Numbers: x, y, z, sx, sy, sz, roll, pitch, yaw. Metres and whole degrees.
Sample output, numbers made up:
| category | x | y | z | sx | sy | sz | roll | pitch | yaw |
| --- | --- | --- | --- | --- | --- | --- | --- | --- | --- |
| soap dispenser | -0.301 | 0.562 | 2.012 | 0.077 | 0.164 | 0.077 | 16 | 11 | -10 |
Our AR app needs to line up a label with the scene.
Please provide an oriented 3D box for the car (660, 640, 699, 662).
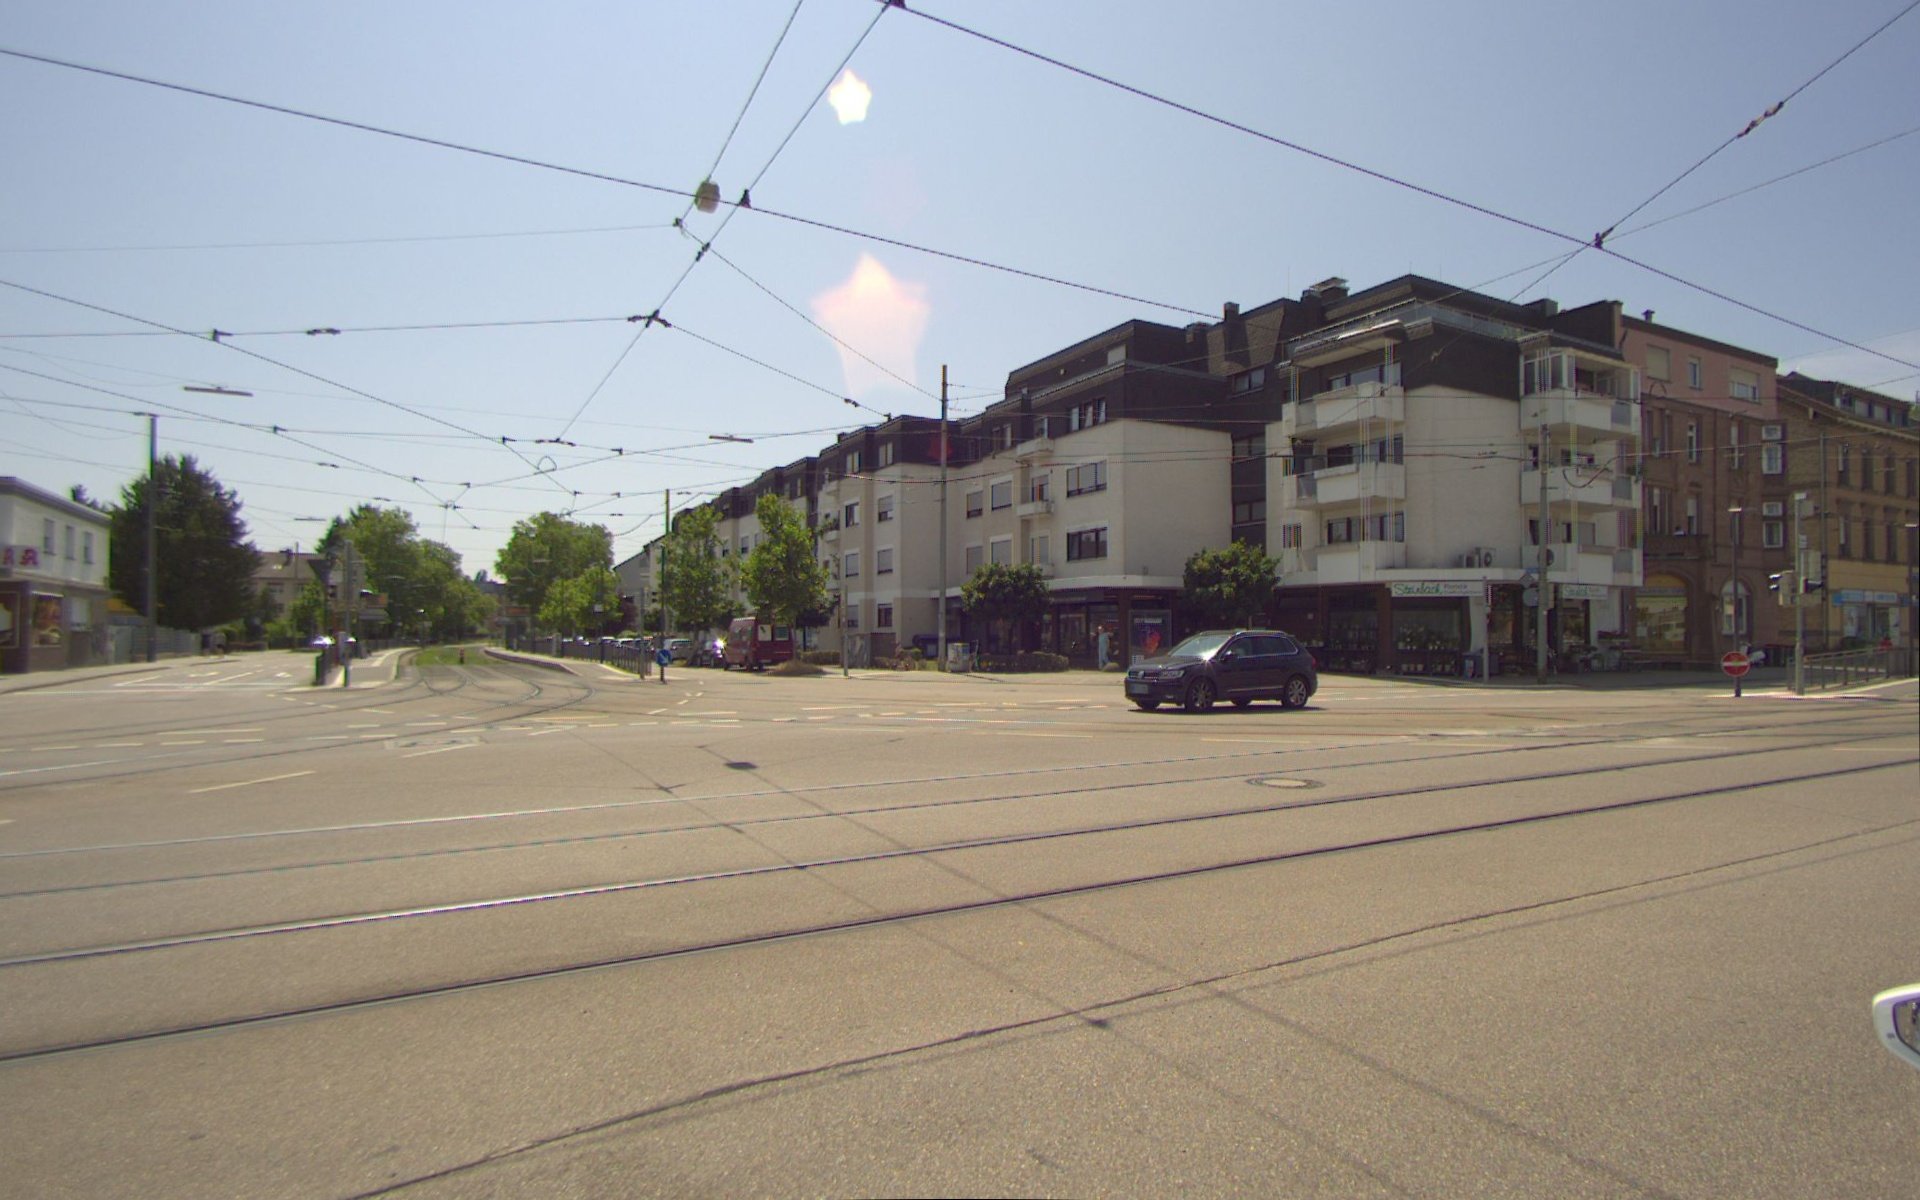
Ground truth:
| category | x | y | z | sx | sy | sz | roll | pitch | yaw |
| --- | --- | --- | --- | --- | --- | --- | --- | --- | --- |
| car | -17.037 | 3.076 | 60.963 | 1.570 | 1.256 | 3.555 | 1 | -2 | -28 |

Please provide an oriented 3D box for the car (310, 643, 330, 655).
| category | x | y | z | sx | sy | sz | roll | pitch | yaw |
| --- | --- | --- | --- | --- | --- | --- | --- | --- | --- |
| car | -66.021 | 5.039 | 103.626 | 1.580 | 1.243 | 3.274 | 1 | -2 | -29 |

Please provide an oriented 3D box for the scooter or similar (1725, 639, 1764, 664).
| category | x | y | z | sx | sy | sz | roll | pitch | yaw |
| --- | --- | --- | --- | --- | --- | --- | --- | --- | --- |
| scooter or similar | 35.043 | 2.278 | 44.853 | 1.549 | 1.096 | 0.488 | 0 | -2 | -13 |

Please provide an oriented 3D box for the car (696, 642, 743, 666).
| category | x | y | z | sx | sy | sz | roll | pitch | yaw |
| --- | --- | --- | --- | --- | --- | --- | --- | --- | --- |
| car | -12.535 | 2.781 | 52.221 | 1.570 | 1.235 | 3.555 | 1 | -2 | -28 |

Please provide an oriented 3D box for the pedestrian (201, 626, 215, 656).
| category | x | y | z | sx | sy | sz | roll | pitch | yaw |
| --- | --- | --- | --- | --- | --- | --- | --- | --- | --- |
| pedestrian | -49.753 | 2.701 | 66.455 | 0.671 | 1.927 | 0.644 | 1 | -2 | -30 |

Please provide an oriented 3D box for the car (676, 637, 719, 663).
| category | x | y | z | sx | sy | sz | roll | pitch | yaw |
| --- | --- | --- | --- | --- | --- | --- | --- | --- | --- |
| car | -14.855 | 2.796 | 56.693 | 1.570 | 1.451 | 3.555 | 1 | -2 | -28 |

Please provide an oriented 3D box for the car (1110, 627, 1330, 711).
| category | x | y | z | sx | sy | sz | roll | pitch | yaw |
| --- | --- | --- | --- | --- | --- | --- | --- | --- | --- |
| car | 5.481 | 1.386 | 21.079 | 4.437 | 1.600 | 1.787 | 1 | -2 | -28 |

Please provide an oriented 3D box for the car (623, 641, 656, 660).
| category | x | y | z | sx | sy | sz | roll | pitch | yaw |
| --- | --- | --- | --- | --- | --- | --- | --- | --- | --- |
| car | -22.479 | 3.534 | 70.444 | 1.570 | 1.256 | 3.555 | 1 | -2 | -28 |

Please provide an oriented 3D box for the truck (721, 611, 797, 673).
| category | x | y | z | sx | sy | sz | roll | pitch | yaw |
| --- | --- | --- | --- | --- | --- | --- | --- | --- | --- |
| truck | -9.501 | 1.956 | 47.158 | 2.160 | 2.734 | 5.006 | 1 | -2 | -28 |

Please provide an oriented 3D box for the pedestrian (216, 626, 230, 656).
| category | x | y | z | sx | sy | sz | roll | pitch | yaw |
| --- | --- | --- | --- | --- | --- | --- | --- | --- | --- |
| pedestrian | -49.009 | 2.721 | 66.787 | 0.671 | 1.927 | 0.644 | 1 | -2 | -30 |

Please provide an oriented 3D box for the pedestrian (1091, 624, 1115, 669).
| category | x | y | z | sx | sy | sz | roll | pitch | yaw |
| --- | --- | --- | --- | --- | --- | --- | --- | --- | --- |
| pedestrian | 5.556 | 1.796 | 39.056 | 0.792 | 1.719 | 0.702 | 0 | -2 | -1 |

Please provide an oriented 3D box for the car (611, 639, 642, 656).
| category | x | y | z | sx | sy | sz | roll | pitch | yaw |
| --- | --- | --- | --- | --- | --- | --- | --- | --- | --- |
| car | -24.990 | 3.525 | 75.221 | 1.570 | 1.256 | 3.555 | 1 | -2 | -28 |

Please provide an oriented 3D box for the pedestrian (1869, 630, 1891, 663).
| category | x | y | z | sx | sy | sz | roll | pitch | yaw |
| --- | --- | --- | --- | --- | --- | --- | --- | --- | --- |
| pedestrian | 44.314 | 2.216 | 48.374 | 0.632 | 1.581 | 0.612 | 1 | -2 | -30 |
